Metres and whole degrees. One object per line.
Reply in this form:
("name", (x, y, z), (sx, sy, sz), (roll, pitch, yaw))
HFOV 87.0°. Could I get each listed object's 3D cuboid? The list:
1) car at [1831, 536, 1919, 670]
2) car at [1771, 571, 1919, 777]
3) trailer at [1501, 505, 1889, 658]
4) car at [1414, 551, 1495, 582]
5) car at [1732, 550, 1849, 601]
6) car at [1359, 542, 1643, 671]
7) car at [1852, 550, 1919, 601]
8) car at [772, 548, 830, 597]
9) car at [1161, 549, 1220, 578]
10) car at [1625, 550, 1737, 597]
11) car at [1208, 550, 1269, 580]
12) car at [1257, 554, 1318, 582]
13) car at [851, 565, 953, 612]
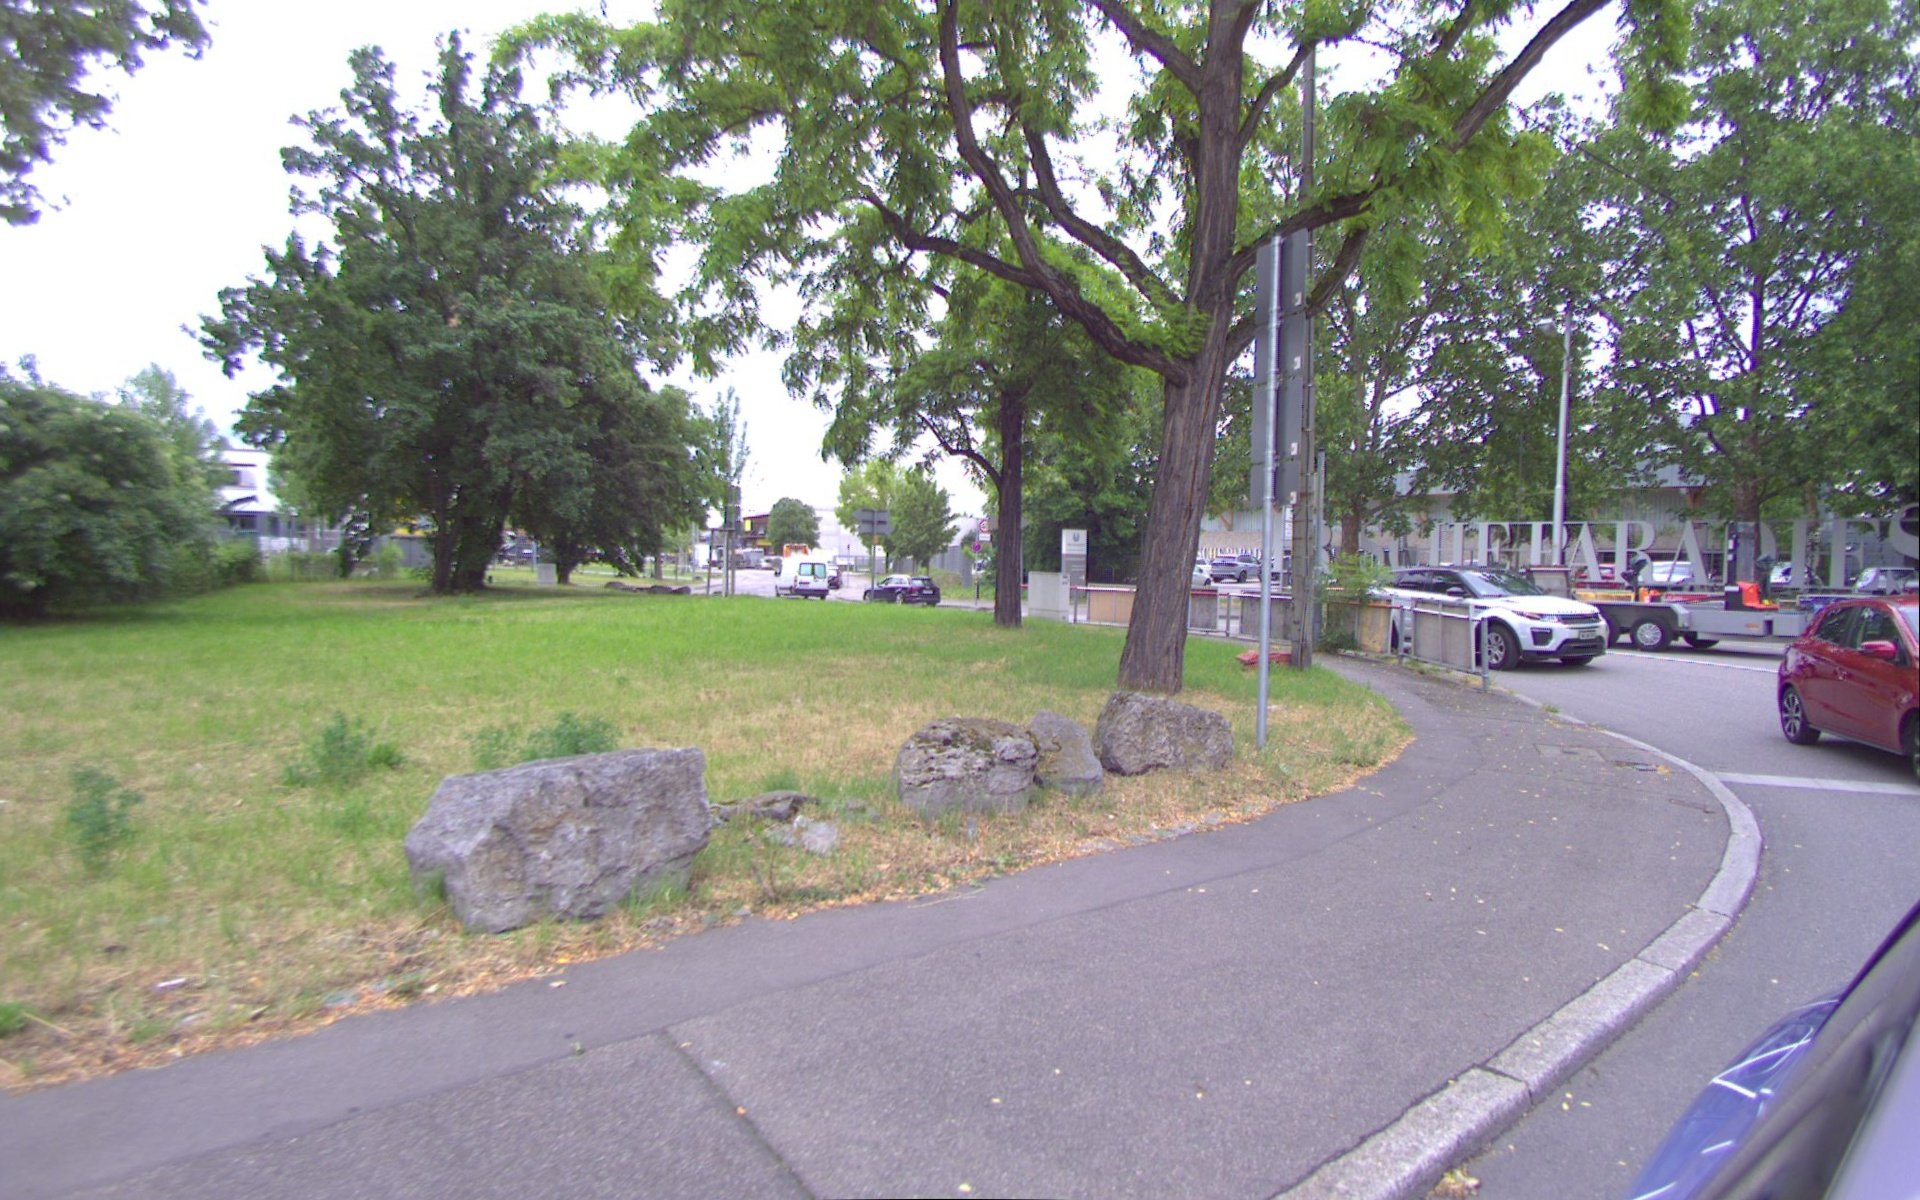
("car", (16.202, 0.122, 14.062), (1.912, 2.003, 5.879), (-2, 4, -31))
("car", (8.630, 0.559, 8.493), (1.746, 1.548, 3.716), (0, 2, 21))
("trailer", (13.331, -0.410, 18.825), (2.108, 2.416, 5.395), (0, 2, -31))
("car", (25.764, -1.758, 52.669), (5.162, 1.449, 1.935), (-3, 1, -41))
("car", (27.535, -0.828, 33.512), (4.616, 1.475, 1.998), (-3, 1, -38))
("car", (9.115, -0.026, 17.505), (1.878, 1.586, 4.127), (-5, 8, -19))
("car", (29.641, -0.810, 31.747), (4.622, 1.475, 1.996), (-3, 1, -42))
("car", (-9.289, -1.524, 58.676), (2.147, 2.573, 6.497), (-3, 1, -19))
("car", (14.468, -2.300, 63.401), (1.910, 1.721, 3.938), (3, 3, 43))
("car", (25.748, -0.953, 36.102), (4.616, 1.475, 1.998), (-3, 1, -38))
("car", (16.978, -2.148, 61.593), (1.910, 1.721, 3.938), (3, 3, 43))
("car", (19.186, -1.893, 59.263), (1.910, 1.526, 3.938), (4, 3, 43))
("car", (-2.654, -0.555, 45.167), (1.962, 1.474, 5.226), (8, 0, -35))
